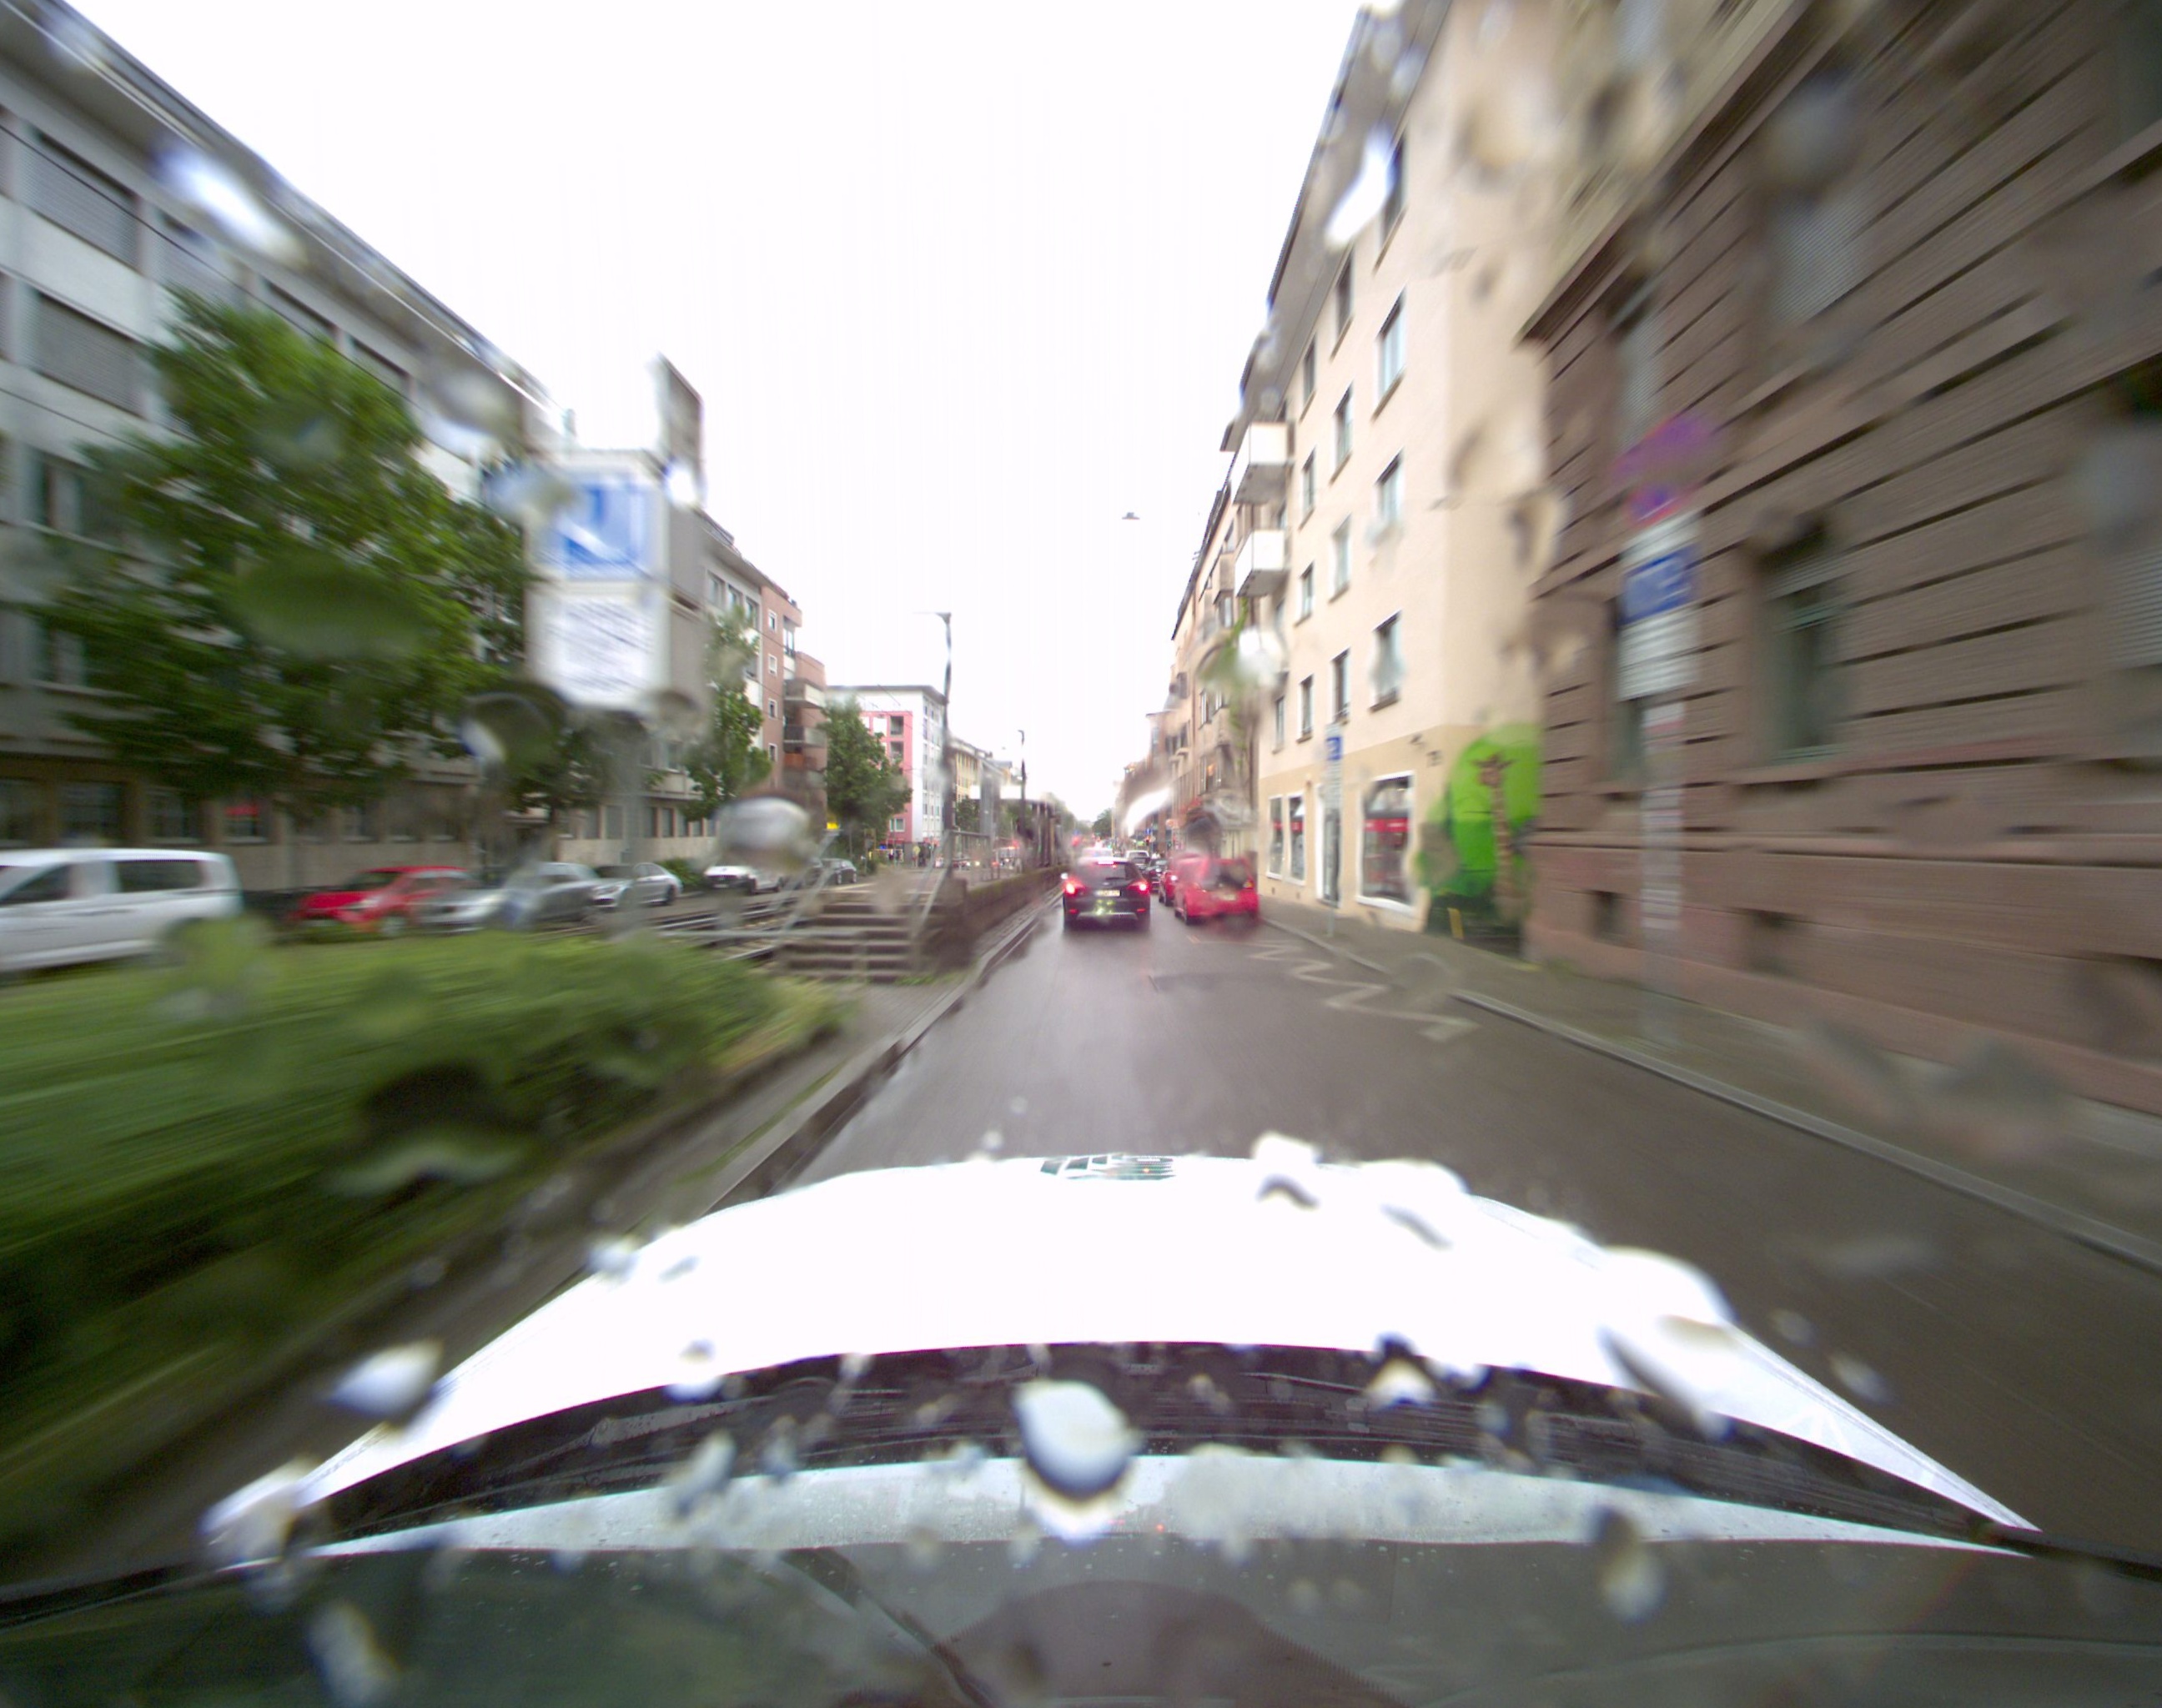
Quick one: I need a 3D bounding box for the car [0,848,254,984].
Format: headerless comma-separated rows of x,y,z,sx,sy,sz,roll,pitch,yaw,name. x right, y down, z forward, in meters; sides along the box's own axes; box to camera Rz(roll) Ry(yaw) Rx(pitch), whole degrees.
-14.486,0.778,11.070,1.848,1.701,4.432,1,-1,2,car

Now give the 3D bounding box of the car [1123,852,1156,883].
3.677,0.888,51.655,1.832,1.781,3.780,2,-2,2,car

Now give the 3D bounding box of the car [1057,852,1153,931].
0.444,0.747,17.806,1.837,1.507,3.998,-1,-1,-1,car

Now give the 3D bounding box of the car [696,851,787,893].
-14.045,0.765,34.075,1.851,1.637,4.930,1,-1,-2,car

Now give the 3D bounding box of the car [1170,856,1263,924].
3.069,0.777,19.029,1.664,1.421,3.477,-1,0,1,car

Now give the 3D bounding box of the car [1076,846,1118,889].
0.749,0.639,41.408,1.982,2.060,4.644,0,0,-1,car

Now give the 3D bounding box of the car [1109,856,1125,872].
4.637,1.335,106.700,1.986,2.014,4.001,2,-2,2,car

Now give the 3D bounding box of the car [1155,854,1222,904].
3.241,0.718,25.111,1.664,1.421,3.477,-1,0,1,car

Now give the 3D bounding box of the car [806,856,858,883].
-13.867,0.869,45.563,1.545,1.395,4.047,1,-1,2,car

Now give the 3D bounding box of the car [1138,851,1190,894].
3.370,0.786,33.774,1.851,1.585,3.780,2,-2,2,car

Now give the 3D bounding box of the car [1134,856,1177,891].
3.669,0.999,40.487,1.851,1.585,3.780,2,-2,2,car

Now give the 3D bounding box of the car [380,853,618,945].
-11.644,0.864,16.716,1.848,1.637,4.047,1,-1,2,car

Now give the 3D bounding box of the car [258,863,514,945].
-14.495,0.985,17.357,1.848,1.527,4.047,1,-1,2,car

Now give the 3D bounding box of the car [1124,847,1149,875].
3.823,0.502,56.465,1.585,1.781,3.780,2,-2,2,car

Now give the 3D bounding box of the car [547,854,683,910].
-13.977,0.829,24.722,1.661,1.558,4.047,1,-1,2,car

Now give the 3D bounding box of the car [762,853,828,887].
-14.004,0.806,40.094,1.688,1.574,4.047,1,-1,2,car
